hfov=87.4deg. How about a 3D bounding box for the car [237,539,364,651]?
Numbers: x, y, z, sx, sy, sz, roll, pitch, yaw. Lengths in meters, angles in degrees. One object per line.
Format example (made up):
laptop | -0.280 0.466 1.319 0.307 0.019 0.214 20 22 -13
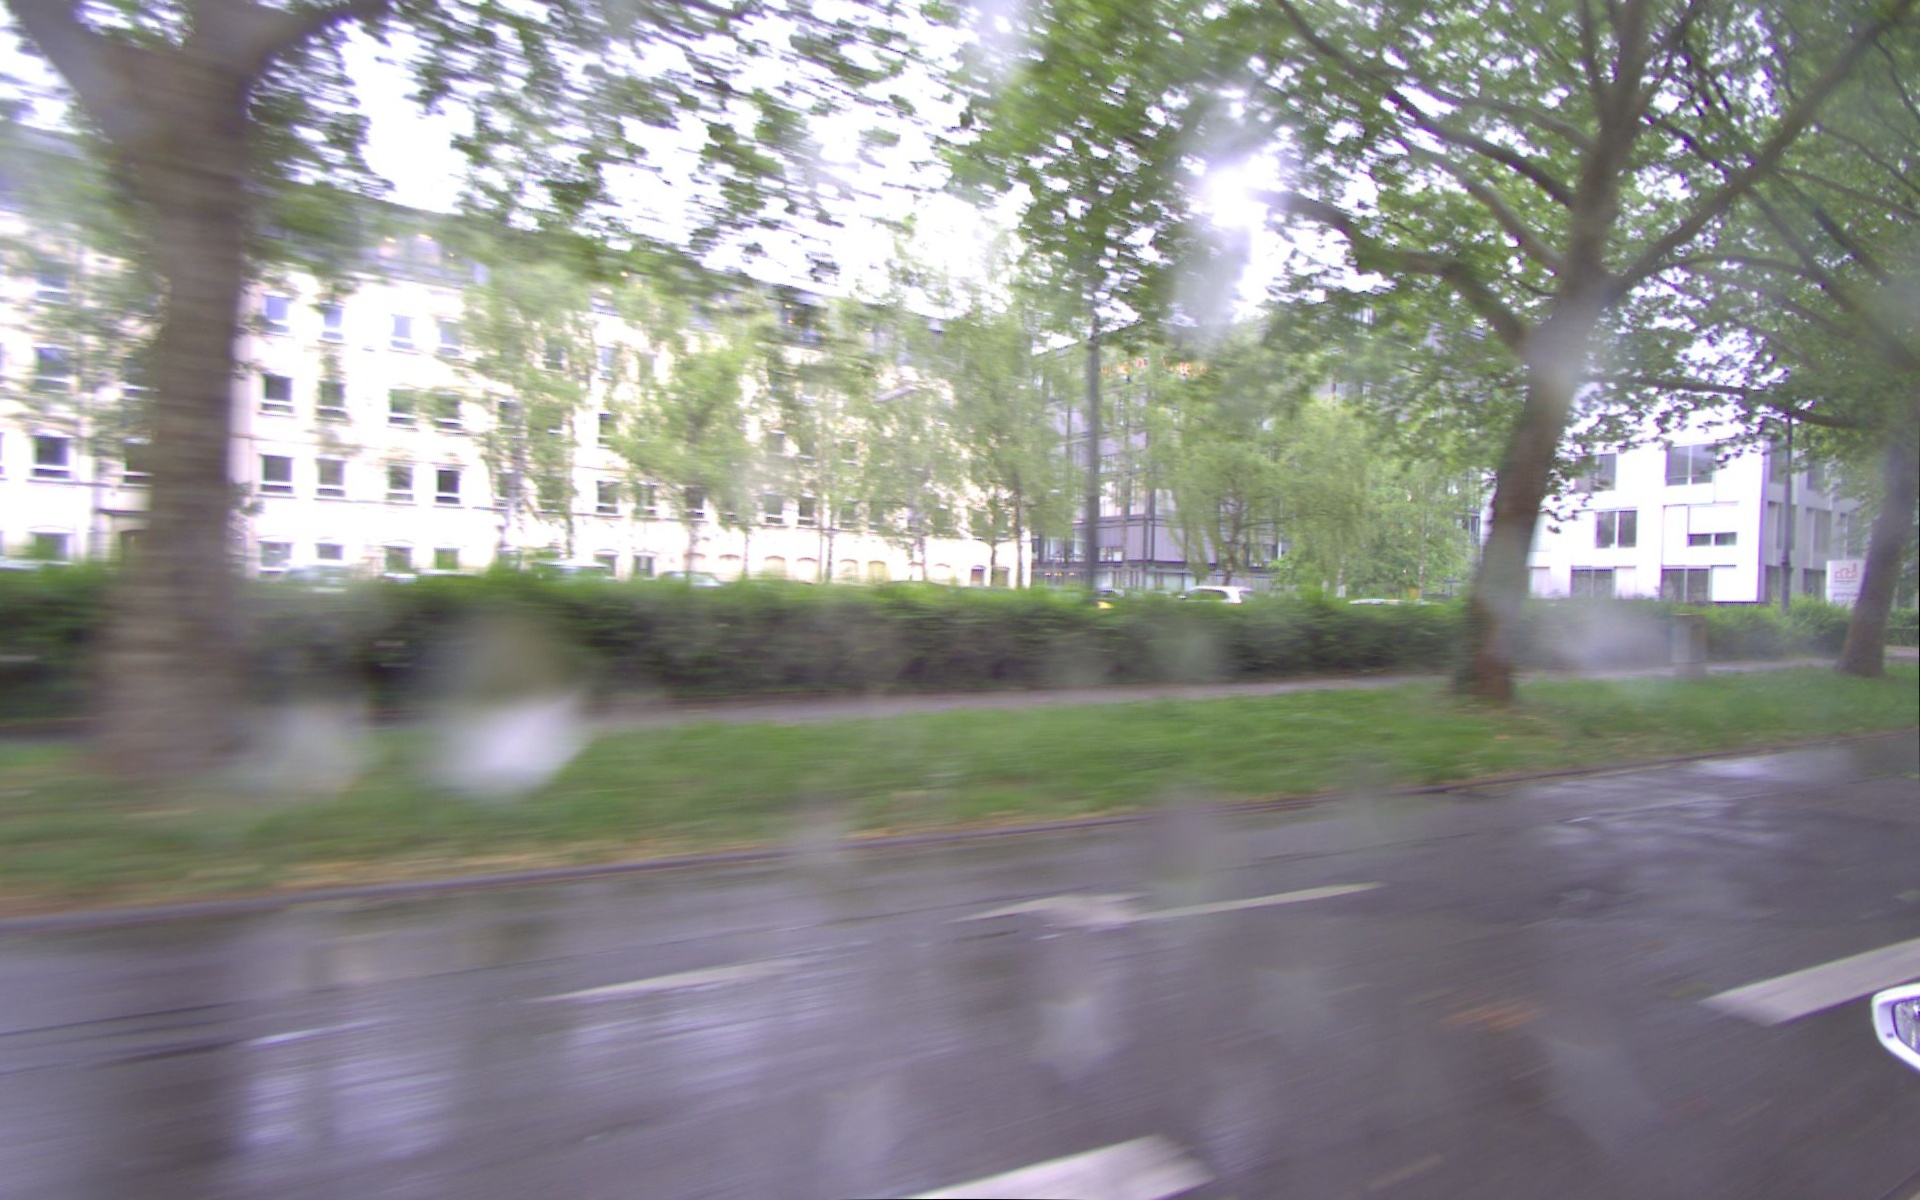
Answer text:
car | -14.053 -0.098 21.616 1.976 2.161 3.969 0 0 -29

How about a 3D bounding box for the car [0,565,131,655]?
car | -17.843 0.132 19.521 1.862 1.571 3.971 1 1 -28

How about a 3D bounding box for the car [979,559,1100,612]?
car | 2.488 -0.433 32.287 1.977 1.587 3.968 1 0 -30

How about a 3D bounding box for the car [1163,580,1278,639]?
car | 9.589 0.339 37.269 1.976 2.040 3.970 1 0 -29
